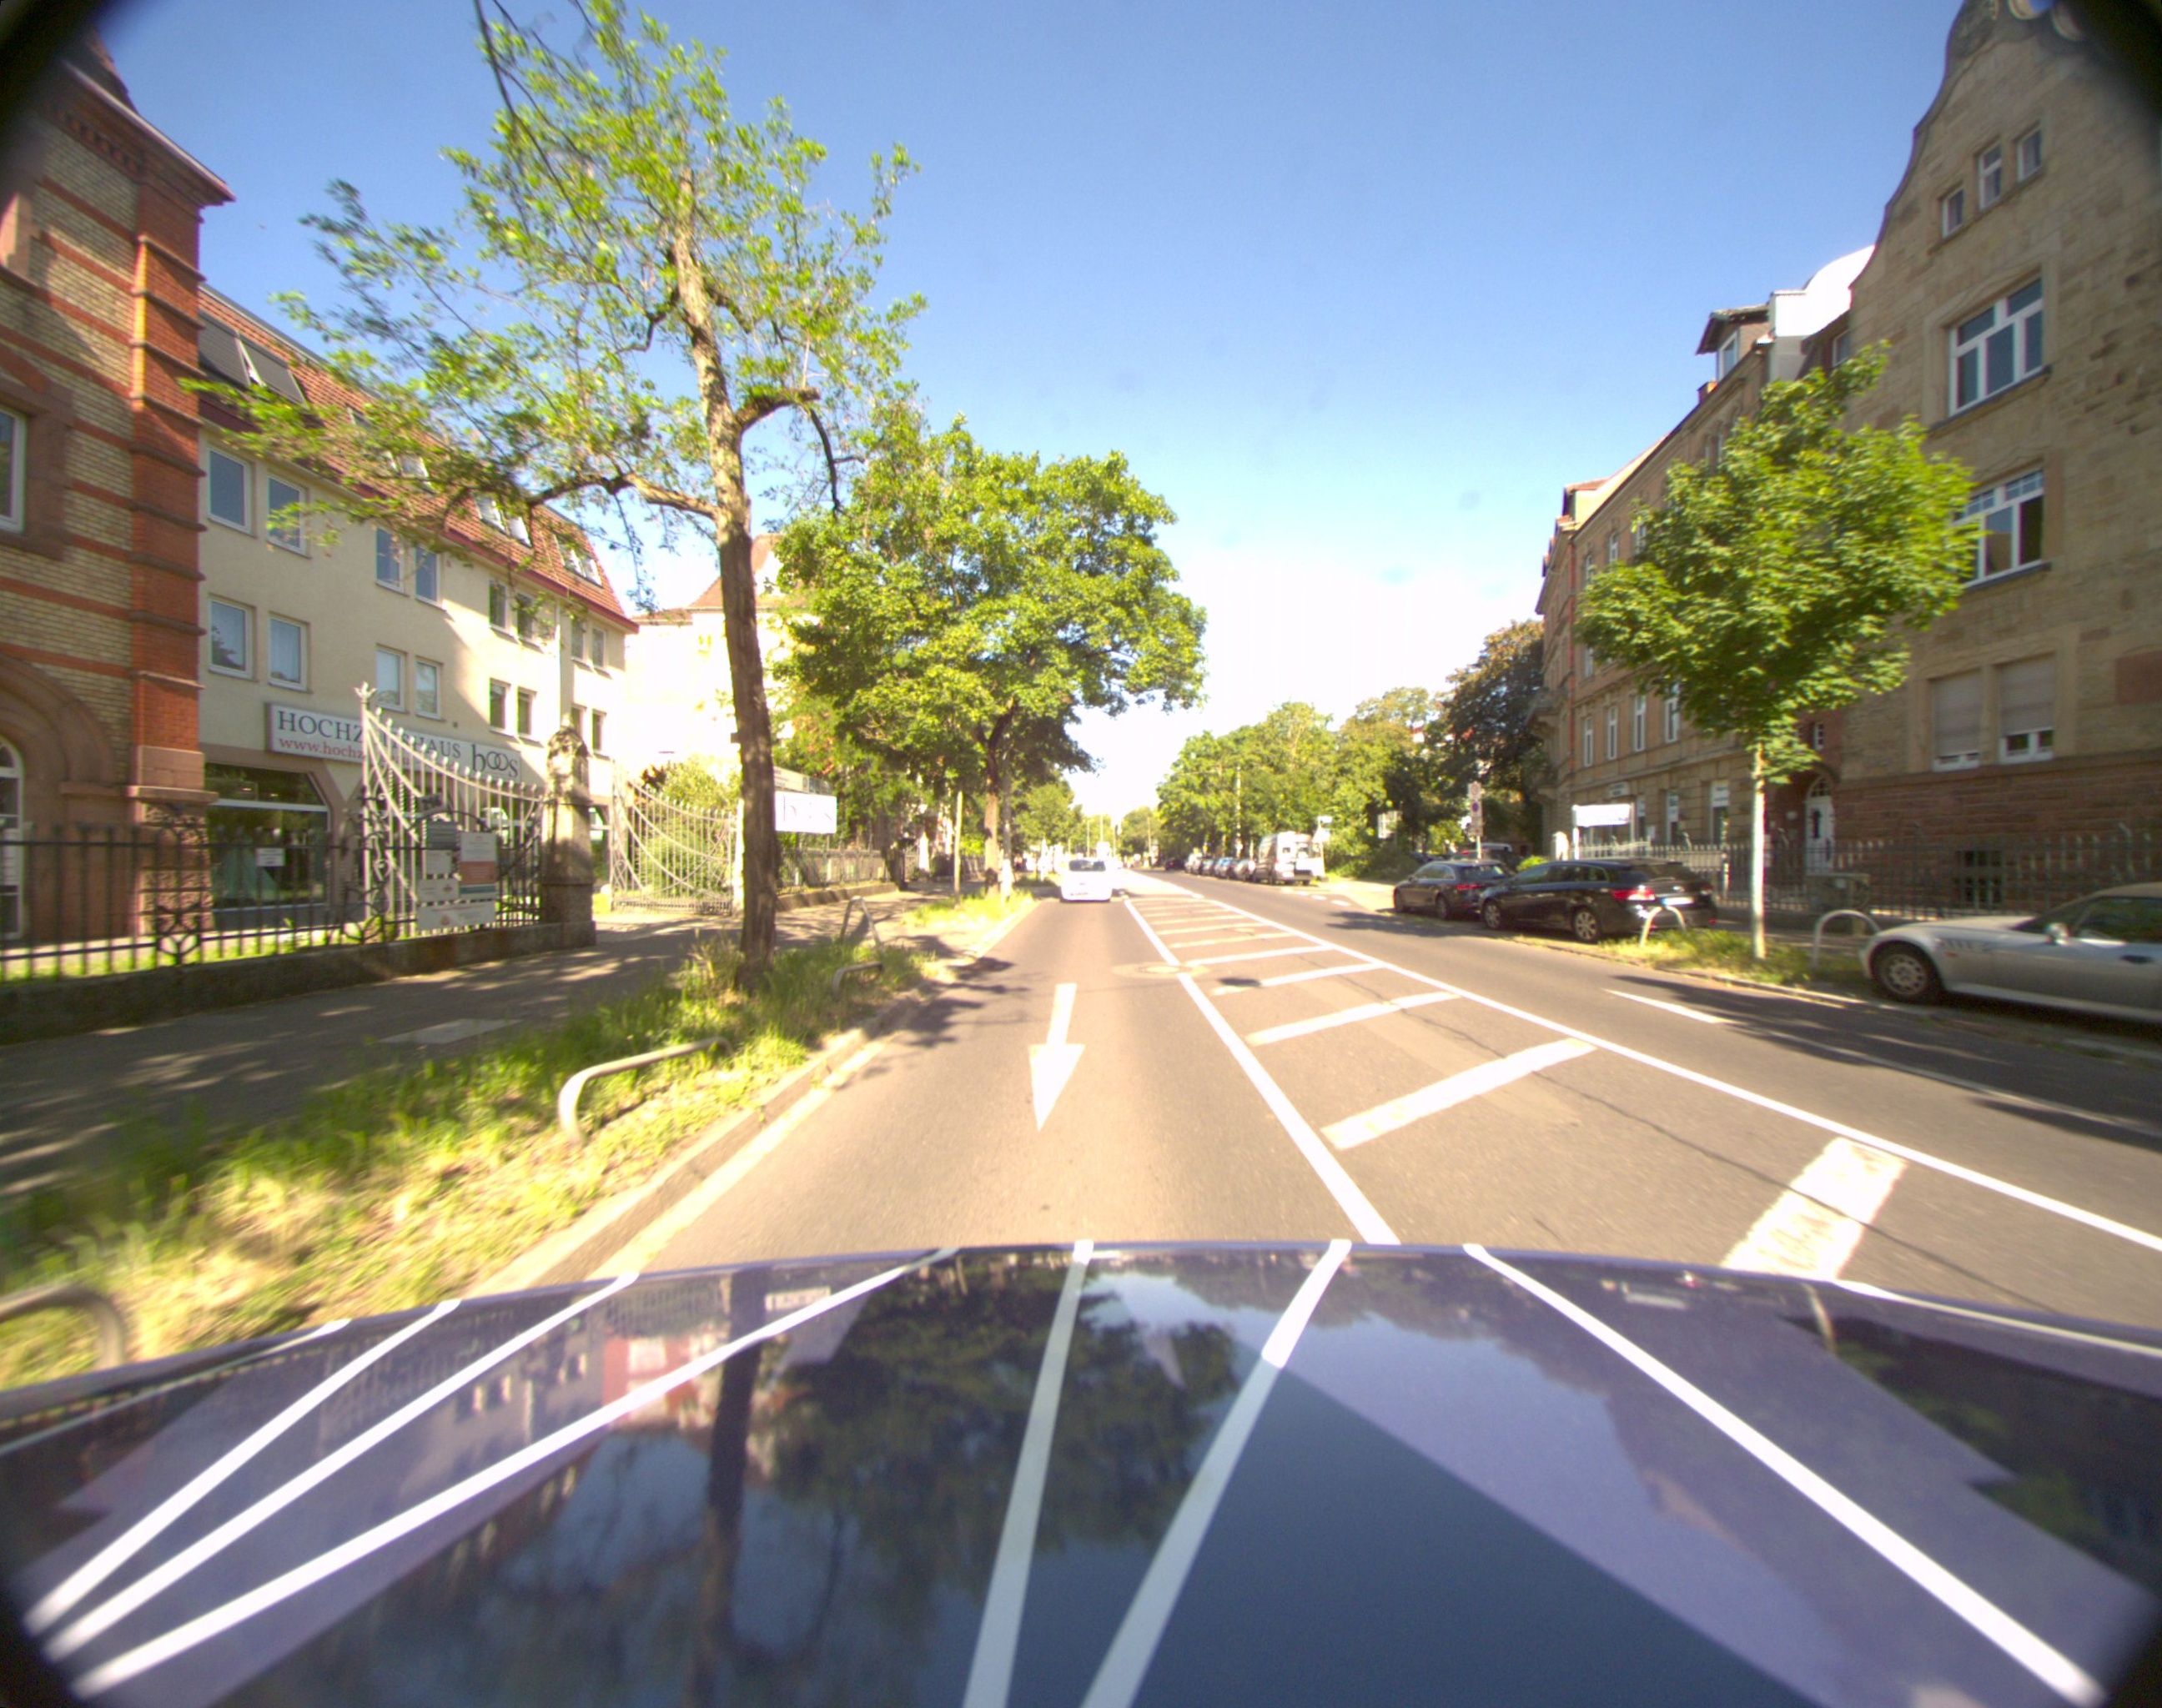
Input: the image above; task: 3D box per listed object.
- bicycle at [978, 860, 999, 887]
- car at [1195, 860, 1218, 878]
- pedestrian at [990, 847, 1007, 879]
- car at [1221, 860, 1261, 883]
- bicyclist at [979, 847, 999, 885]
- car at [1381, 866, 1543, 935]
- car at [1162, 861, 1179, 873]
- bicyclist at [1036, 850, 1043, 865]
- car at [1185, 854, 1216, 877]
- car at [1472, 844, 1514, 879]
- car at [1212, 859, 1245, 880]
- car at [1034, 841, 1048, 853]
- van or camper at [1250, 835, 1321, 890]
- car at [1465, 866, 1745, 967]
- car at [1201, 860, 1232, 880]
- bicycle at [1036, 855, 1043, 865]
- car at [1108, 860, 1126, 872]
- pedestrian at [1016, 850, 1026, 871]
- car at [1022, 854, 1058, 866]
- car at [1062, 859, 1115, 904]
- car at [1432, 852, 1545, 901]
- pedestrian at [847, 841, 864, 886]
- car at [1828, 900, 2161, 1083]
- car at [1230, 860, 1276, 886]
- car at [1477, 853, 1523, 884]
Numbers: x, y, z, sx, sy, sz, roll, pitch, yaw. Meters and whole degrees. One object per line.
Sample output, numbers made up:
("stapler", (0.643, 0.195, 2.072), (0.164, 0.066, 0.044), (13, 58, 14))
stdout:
("bicycle", (-4.169, 0.861, 34.296), (0.654, 1.169, 1.843), (4, 0, 1))
("car", (11.411, 1.350, 69.173), (1.467, 1.493, 3.958), (2, 0, 1))
("pedestrian", (-4.771, 0.520, 44.078), (0.749, 1.777, 0.811), (3, 0, 1))
("car", (10.810, 1.173, 51.540), (1.785, 1.405, 4.405), (2, 0, 1))
("bicyclist", (-4.152, 0.545, 34.332), (0.647, 1.685, 0.889), (4, 0, 1))
("car", (9.635, 1.100, 19.714), (1.860, 1.419, 4.720), (-3, 0, 2))
("car", (11.123, 1.610, 94.393), (1.596, 1.441, 4.133), (1, 0, 1))
("bicyclist", (-4.752, 0.350, 87.345), (0.622, 1.680, 0.820), (4, 0, -3))
("car", (11.595, 1.098, 74.127), (1.989, 2.024, 4.874), (3, 0, -3))
("car", (24.065, 0.396, 44.535), (1.860, 1.903, 4.459), (2, 2, 25))
("car", (11.292, 1.152, 58.348), (1.784, 1.529, 4.559), (-1, 0, 2))
("car", (-5.835, -1.001, 110.125), (1.847, 1.432, 4.105), (3, -1, -3))
("van or camper", (10.970, 0.446, 41.274), (2.222, 2.723, 6.089), (0, 0, 1))
("car", (9.628, 1.042, 14.572), (1.861, 1.485, 4.704), (-3, 0, -4))
("car", (11.225, 1.283, 63.043), (1.594, 1.473, 4.270), (2, 0, -2))
("bicycle", (-4.769, 0.711, 87.300), (0.617, 1.169, 1.918), (4, 0, -3))
("car", (4.647, 1.552, 99.898), (1.923, 1.411, 4.224), (-2, 0, -3))
("pedestrian", (-4.910, 0.504, 62.094), (0.696, 1.649, 0.820), (3, 1, 0))
("car", (-5.348, 0.797, 99.378), (4.417, 1.409, 2.048), (2, 0, 2))
("car", (0.323, 0.903, 26.530), (1.652, 1.449, 3.898), (0, 0, 3))
("car", (15.777, 0.846, 29.402), (4.150, 1.660, 1.996), (-2, -1, -32))
("pedestrian", (-9.137, 0.389, 30.795), (0.533, 1.768, 0.541), (2, 0, -26))
("car", (9.142, 1.130, 6.466), (1.682, 1.248, 4.015), (-1, 0, 1))
("car", (10.562, 1.142, 46.884), (1.698, 1.448, 4.663), (2, 0, -1))
("car", (22.026, 0.726, 40.025), (1.860, 1.504, 3.535), (2, 2, 25))
